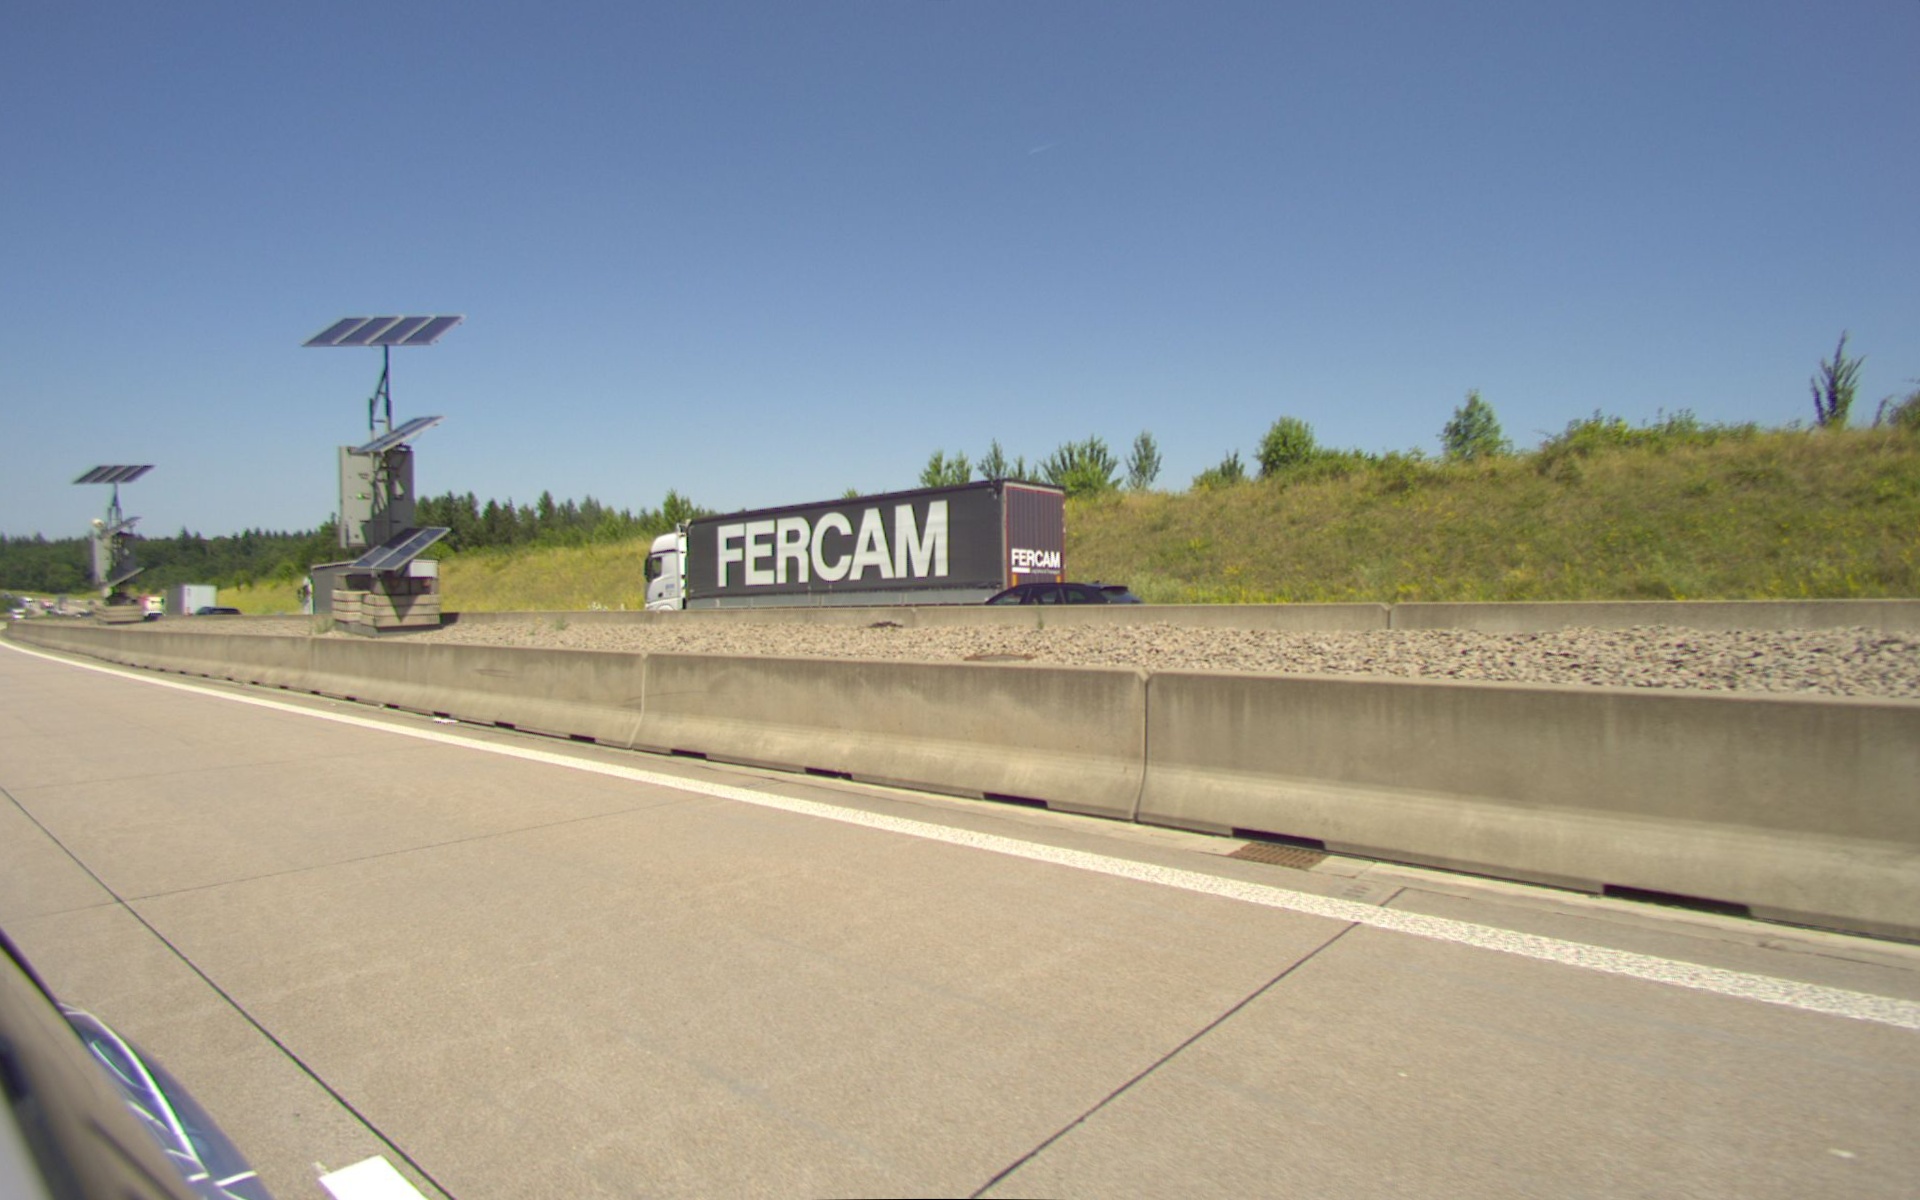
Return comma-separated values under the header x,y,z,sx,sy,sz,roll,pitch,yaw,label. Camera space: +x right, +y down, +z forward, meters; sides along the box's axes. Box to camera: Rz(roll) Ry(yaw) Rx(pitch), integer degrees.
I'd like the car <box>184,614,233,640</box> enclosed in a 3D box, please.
x,y,z,sx,sy,sz,roll,pitch,yaw,label
-50.935,1.818,68.591,4.000,1.697,1.972,-1,-1,43,car

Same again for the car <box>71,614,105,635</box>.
x,y,z,sx,sy,sz,roll,pitch,yaw,label
-79.382,2.213,92.122,4.000,1.929,1.972,-1,-1,43,car

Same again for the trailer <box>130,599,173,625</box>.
x,y,z,sx,sy,sz,roll,pitch,yaw,label
-106.486,1.604,133.222,11.836,3.238,2.901,-1,2,44,trailer

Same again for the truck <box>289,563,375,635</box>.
x,y,z,sx,sy,sz,roll,pitch,yaw,label
-38.815,-0.059,62.457,6.230,4.199,2.902,-1,2,43,truck

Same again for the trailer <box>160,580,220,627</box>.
x,y,z,sx,sy,sz,roll,pitch,yaw,label
-75.089,0.338,98.495,2.899,4.199,14.399,-3,2,-44,trailer

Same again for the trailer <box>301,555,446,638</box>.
x,y,z,sx,sy,sz,roll,pitch,yaw,label
-33.622,-0.126,57.575,14.387,4.199,2.902,-1,2,43,trailer

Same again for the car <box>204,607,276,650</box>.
x,y,z,sx,sy,sz,roll,pitch,yaw,label
-33.732,1.310,47.376,3.999,1.896,1.972,-1,-1,43,car

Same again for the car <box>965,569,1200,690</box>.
x,y,z,sx,sy,sz,roll,pitch,yaw,label
2.240,0.531,19.068,3.998,2.029,1.973,-1,-1,41,car

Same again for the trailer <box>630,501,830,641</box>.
x,y,z,sx,sy,sz,roll,pitch,yaw,label
-7.770,-0.894,33.717,6.888,4.199,2.903,-1,1,42,trailer

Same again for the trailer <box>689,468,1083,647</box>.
x,y,z,sx,sy,sz,roll,pitch,yaw,label
-2.775,-0.977,29.244,13.185,4.199,2.903,-1,1,42,trailer
